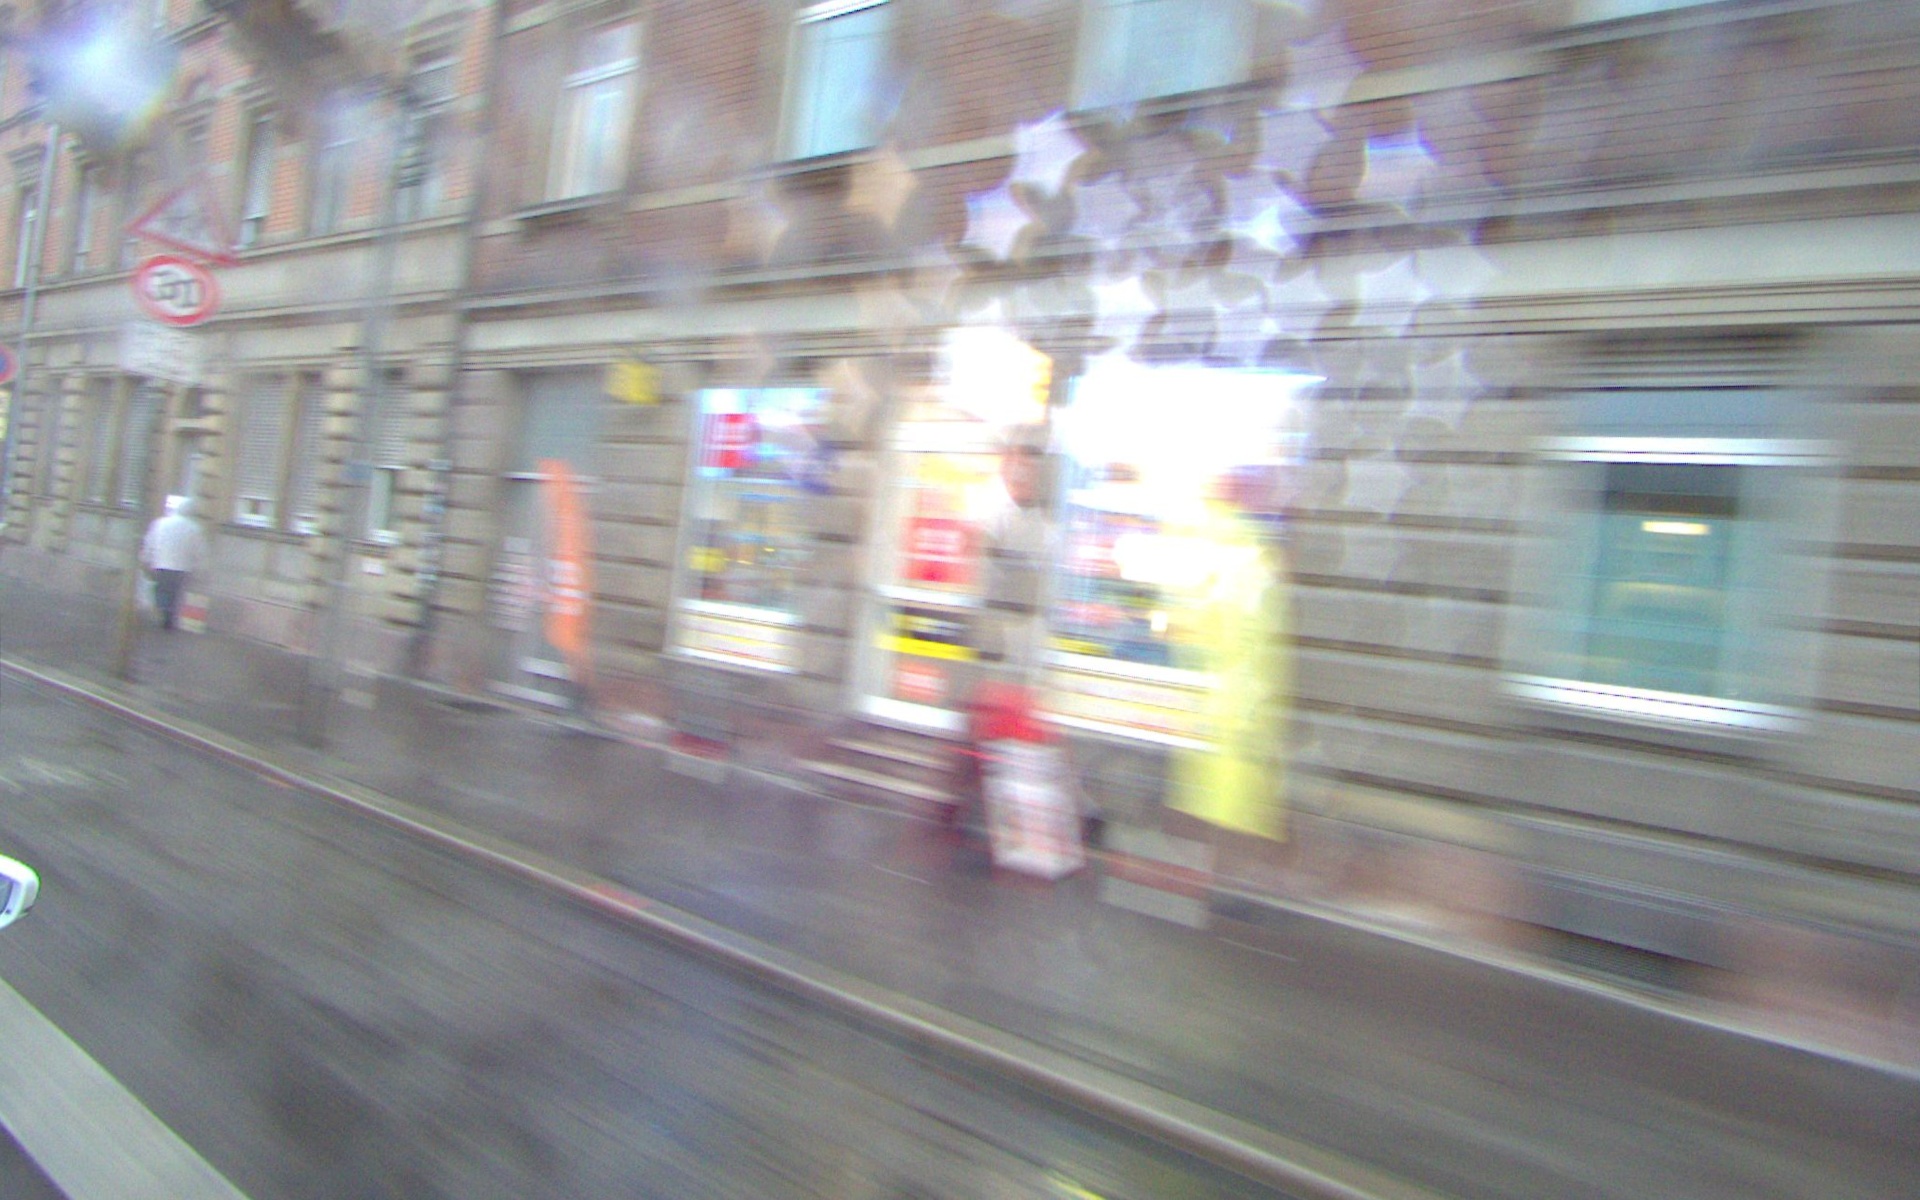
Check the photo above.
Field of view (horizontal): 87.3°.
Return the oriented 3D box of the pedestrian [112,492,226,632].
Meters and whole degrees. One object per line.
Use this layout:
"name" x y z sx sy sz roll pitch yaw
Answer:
"pedestrian" -9.874 -0.465 12.566 0.730 1.617 0.787 7 0 33
